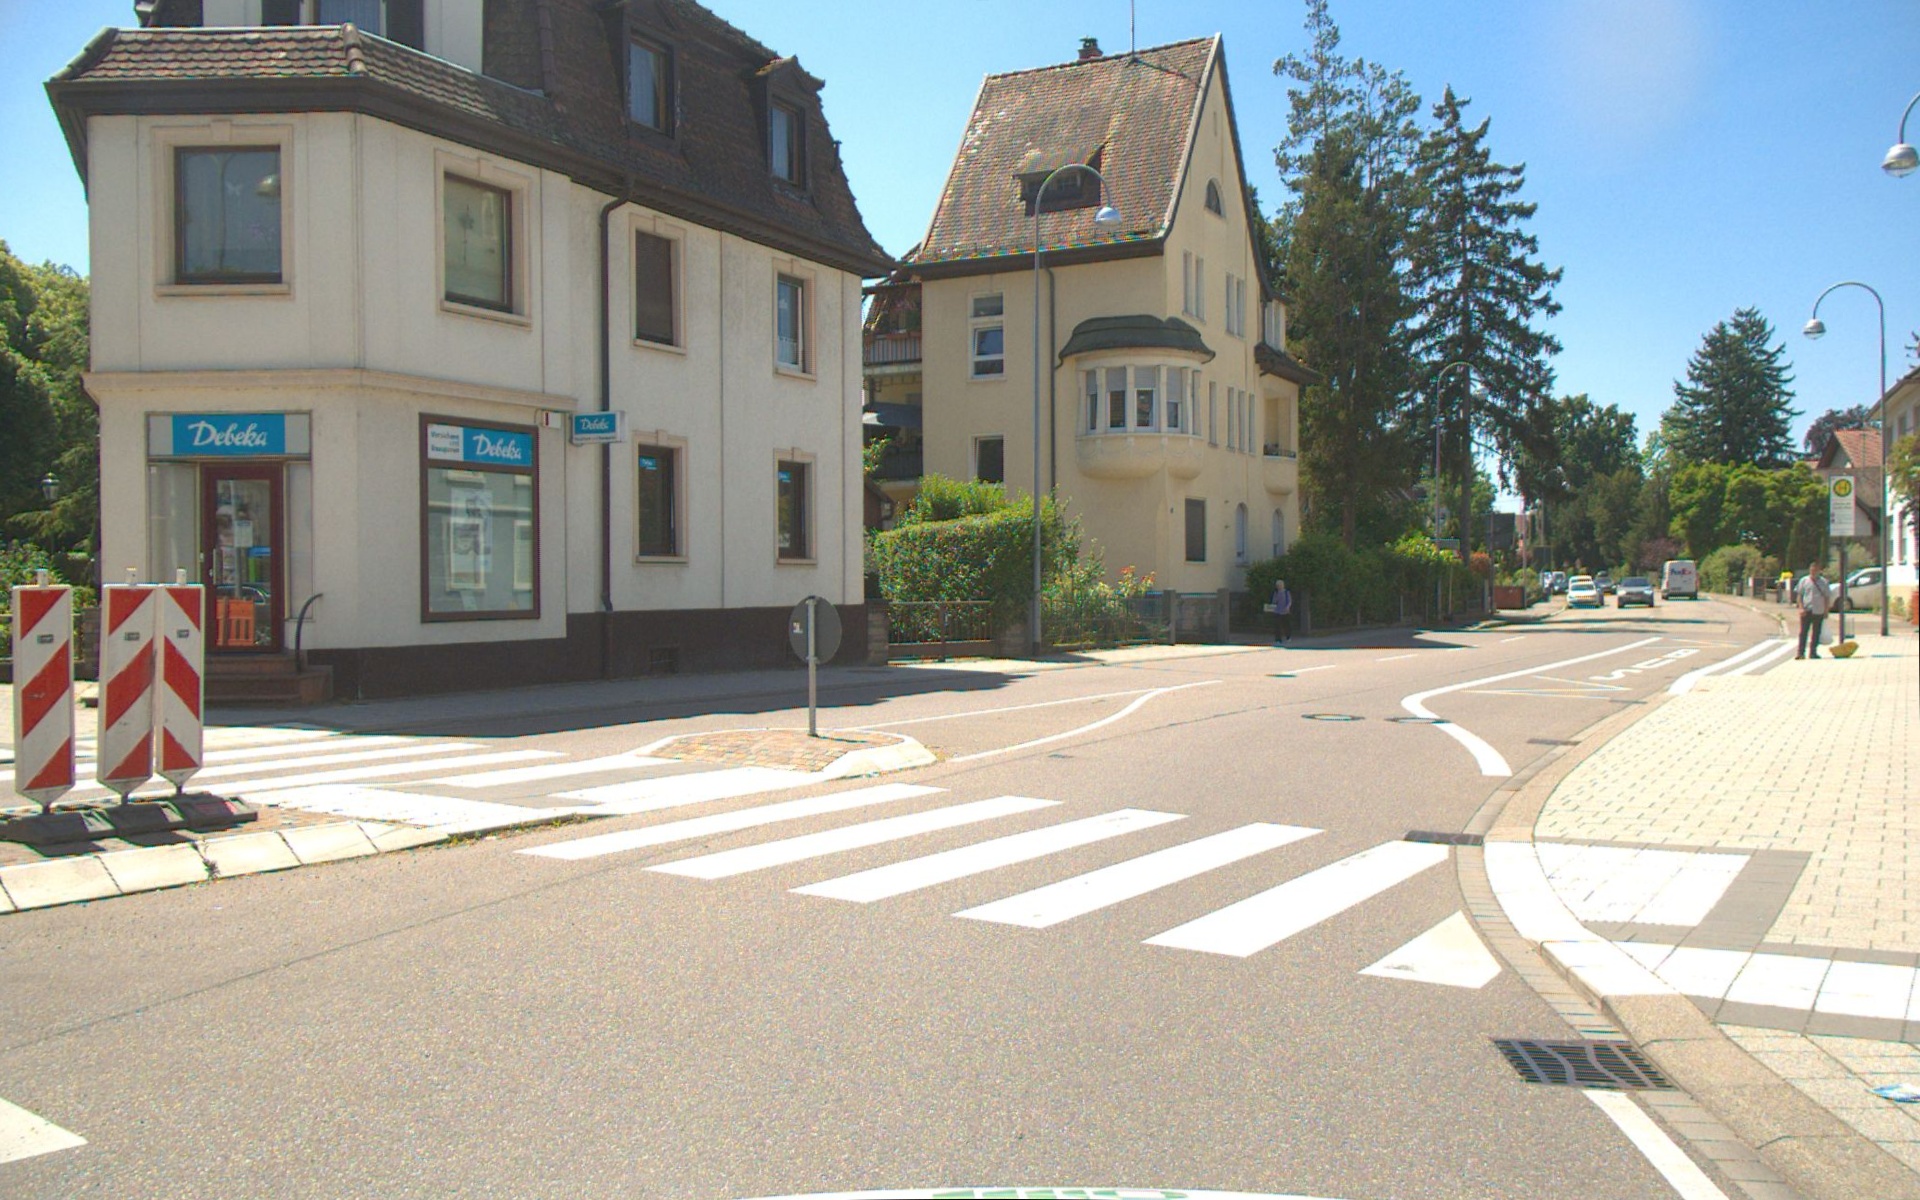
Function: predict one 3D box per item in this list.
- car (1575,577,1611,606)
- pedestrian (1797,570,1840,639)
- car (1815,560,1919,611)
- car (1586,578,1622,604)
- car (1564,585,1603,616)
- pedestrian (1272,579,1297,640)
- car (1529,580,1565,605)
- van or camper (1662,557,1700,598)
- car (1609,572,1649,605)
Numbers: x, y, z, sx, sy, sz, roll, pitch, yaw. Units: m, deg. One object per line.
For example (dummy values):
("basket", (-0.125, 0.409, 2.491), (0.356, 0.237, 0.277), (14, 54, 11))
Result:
("car", (37.822, -0.506, 98.781), (1.953, 1.680, 3.999), (0, 1, 22))
("pedestrian", (16.849, 0.084, 32.456), (0.654, 1.308, 0.586), (-4, -1, 31))
("car", (37.205, -0.608, 67.356), (3.903, 2.049, 2.001), (0, 1, 18))
("car", (52.486, -0.736, 134.879), (1.951, 2.049, 4.004), (0, 1, 9))
("car", (35.169, -0.008, 93.229), (1.953, 1.680, 3.999), (0, 1, 22))
("pedestrian", (8.323, 0.237, 42.442), (0.513, 1.535, 0.472), (0, 0, 30))
("car", (49.975, -0.660, 140.831), (1.951, 2.049, 4.003), (0, 1, 6))
("van or camper", (48.131, -1.479, 110.460), (2.160, 2.656, 4.000), (0, 1, 22))
("car", (36.466, -0.628, 90.069), (1.953, 1.747, 3.999), (0, 1, 23))
